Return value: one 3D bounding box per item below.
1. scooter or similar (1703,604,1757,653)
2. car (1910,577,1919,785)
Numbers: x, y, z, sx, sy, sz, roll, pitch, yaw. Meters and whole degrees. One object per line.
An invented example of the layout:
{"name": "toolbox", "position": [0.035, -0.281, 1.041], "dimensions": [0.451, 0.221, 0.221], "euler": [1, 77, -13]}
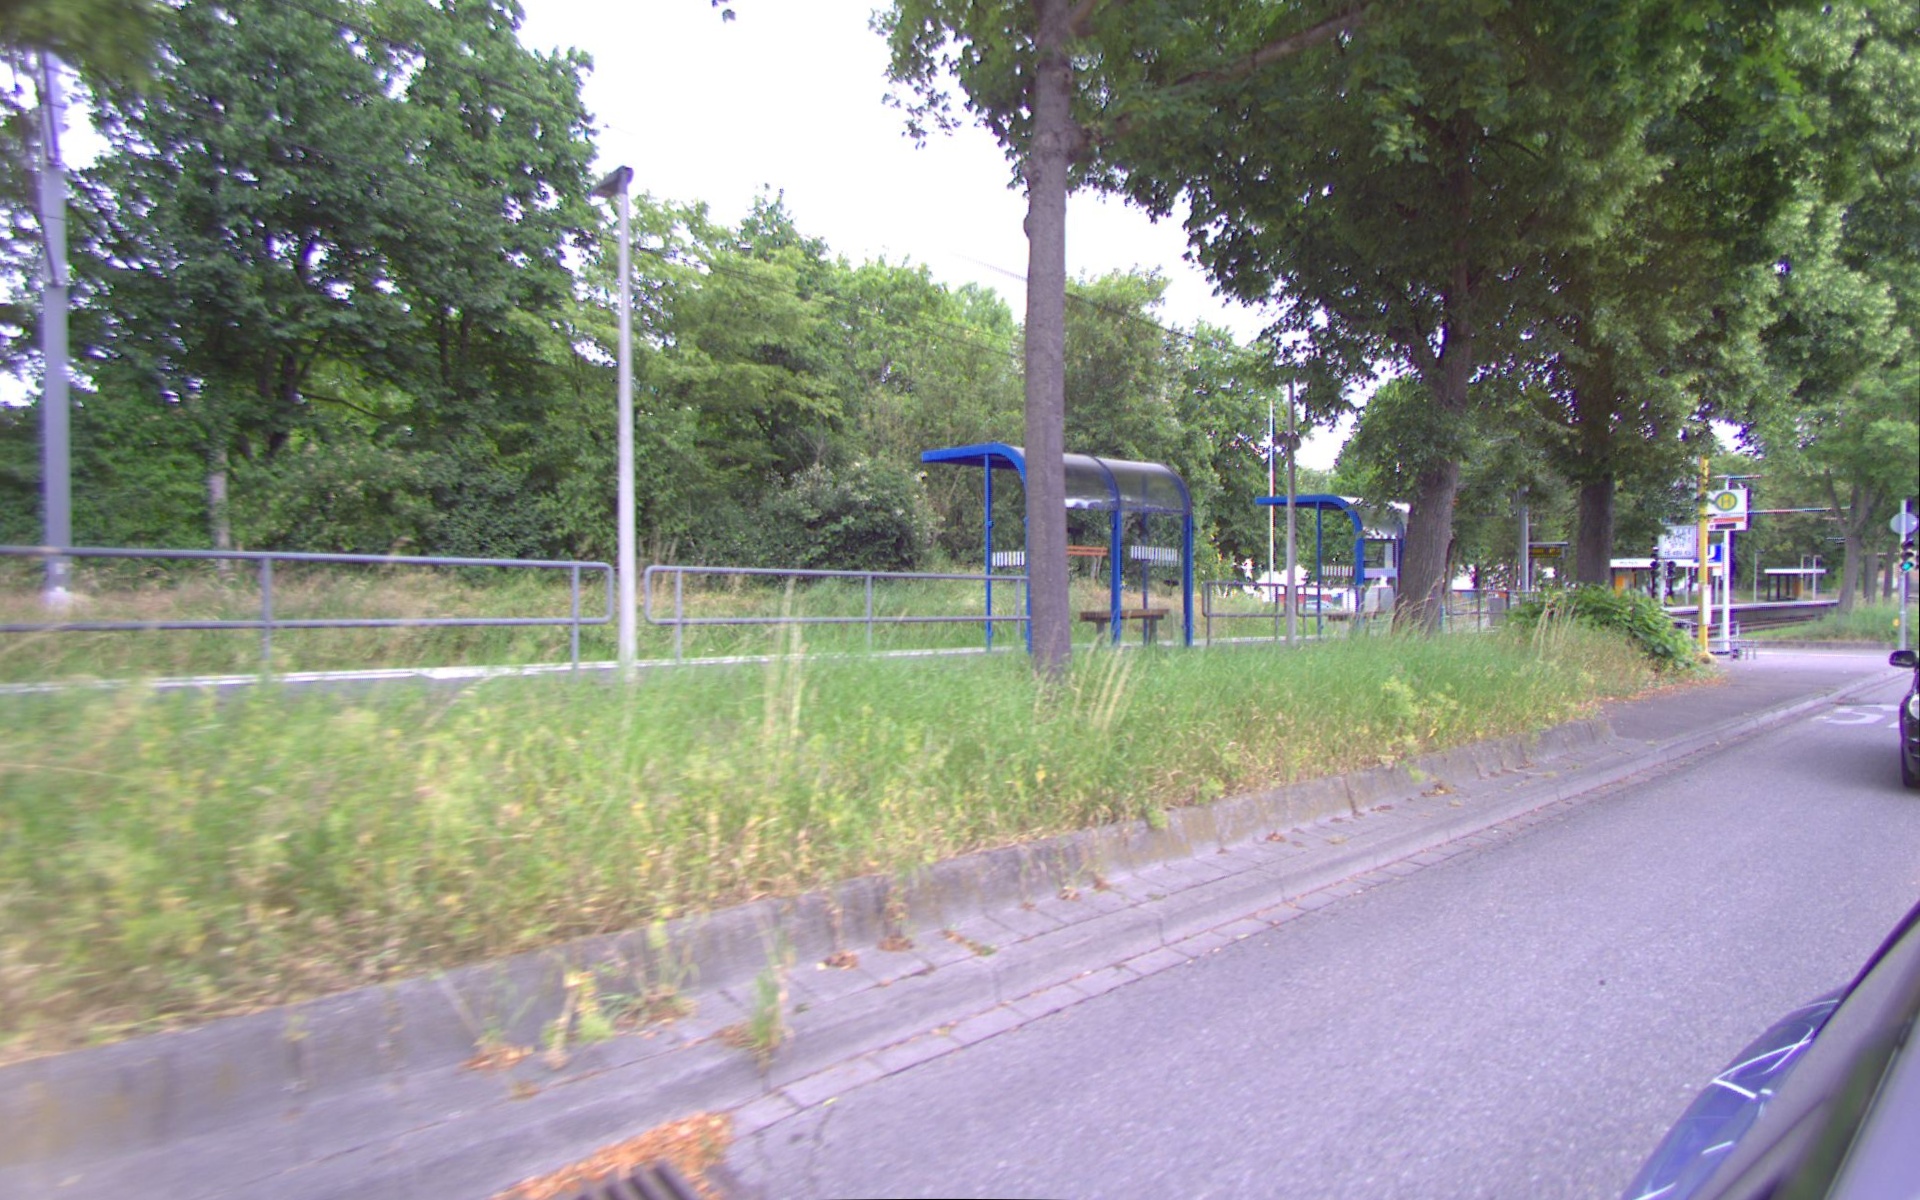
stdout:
{"name": "scooter or similar", "position": [20.125, 0.737, 26.454], "dimensions": [1.084, 1.223, 0.358], "euler": [1, 0, 42]}
{"name": "car", "position": [9.535, 0.608, 8.656], "dimensions": [4.405, 1.594, 1.681], "euler": [0, -1, -42]}
